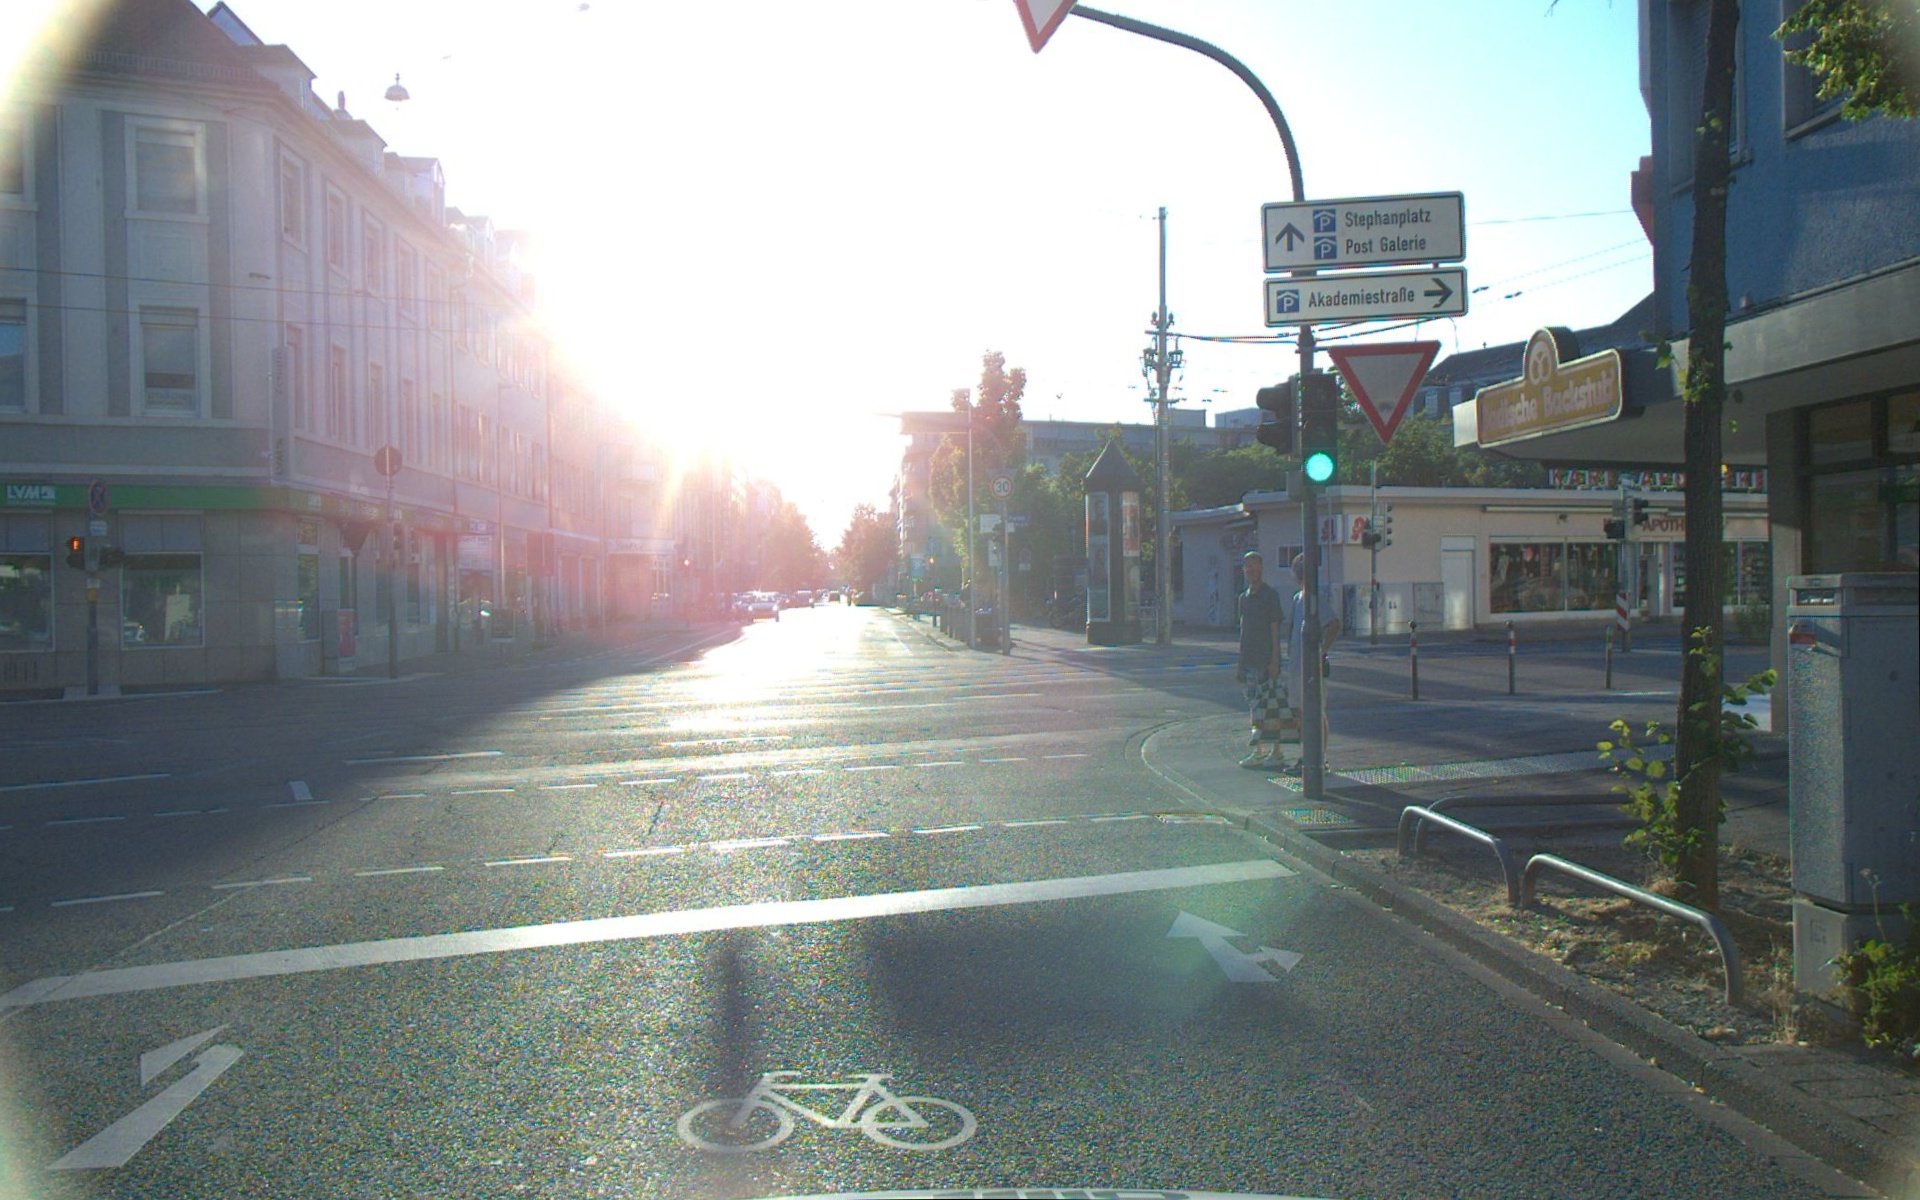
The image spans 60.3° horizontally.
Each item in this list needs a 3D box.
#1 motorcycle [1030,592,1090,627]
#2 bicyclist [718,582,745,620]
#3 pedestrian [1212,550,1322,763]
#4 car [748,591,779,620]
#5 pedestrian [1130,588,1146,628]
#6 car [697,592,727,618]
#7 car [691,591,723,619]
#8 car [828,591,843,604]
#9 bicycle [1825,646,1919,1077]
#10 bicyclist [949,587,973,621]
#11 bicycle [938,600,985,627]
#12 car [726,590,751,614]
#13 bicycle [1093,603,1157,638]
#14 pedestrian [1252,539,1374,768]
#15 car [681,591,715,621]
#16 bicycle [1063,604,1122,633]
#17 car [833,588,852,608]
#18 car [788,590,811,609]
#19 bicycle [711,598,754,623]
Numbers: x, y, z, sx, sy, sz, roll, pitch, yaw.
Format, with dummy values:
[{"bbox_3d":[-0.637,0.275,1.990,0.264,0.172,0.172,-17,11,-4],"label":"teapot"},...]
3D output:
[{"bbox_3d":[3.674,0.342,60.851,2.188,1.222,0.720,-1,0,1],"label":"motorcycle"},{"bbox_3d":[-11.298,0.049,81.794,1.105,1.822,0.765,0,-1,16],"label":"bicyclist"},{"bbox_3d":[2.682,0.479,14.482,0.580,1.804,0.740,-1,0,-35],"label":"pedestrian"},{"bbox_3d":[-10.425,0.320,87.987,1.515,1.493,3.348,0,0,-5],"label":"car"},{"bbox_3d":[7.663,0.337,71.251,0.666,1.686,0.696,1,-1,4],"label":"pedestrian"},{"bbox_3d":[-14.539,0.282,96.982,1.515,1.494,3.348,0,0,-5],"label":"car"},{"bbox_3d":[-14.059,0.290,92.030,1.515,1.495,3.348,0,0,-5],"label":"car"},{"bbox_3d":[-18.484,-0.427,245.385,1.953,1.847,3.998,1,-1,-2],"label":"car"},{"bbox_3d":[3.526,0.751,5.040,1.626,1.215,0.476,-1,1,-10],"label":"bicycle"},{"bbox_3d":[0.038,0.186,75.229,0.880,1.507,0.735,0,-1,18],"label":"bicyclist"},{"bbox_3d":[0.086,0.615,75.188,2.073,1.225,0.500,0,-1,18],"label":"bicycle"},{"bbox_3d":[-14.647,0.154,109.371,1.454,1.586,3.255,0,0,-5],"label":"car"},{"bbox_3d":[5.186,0.647,52.019,1.977,1.062,0.560,-1,-1,4],"label":"bicycle"},{"bbox_3d":[2.877,0.422,13.530,0.629,1.804,0.744,-1,0,-25],"label":"pedestrian"},{"bbox_3d":[-13.986,0.311,88.384,1.515,1.509,3.349,-1,0,-5],"label":"car"},{"bbox_3d":[4.626,0.645,57.835,2.034,0.999,0.560,-1,-1,4],"label":"bicycle"},{"bbox_3d":[-12.515,-0.232,176.672,1.954,2.049,3.998,1,-1,-3],"label":"car"},{"bbox_3d":[-15.209,-0.044,157.087,1.953,1.713,3.998,-1,0,-2],"label":"car"},{"bbox_3d":[-11.262,0.507,81.751,2.073,1.225,0.500,1,-1,16],"label":"bicycle"}]
